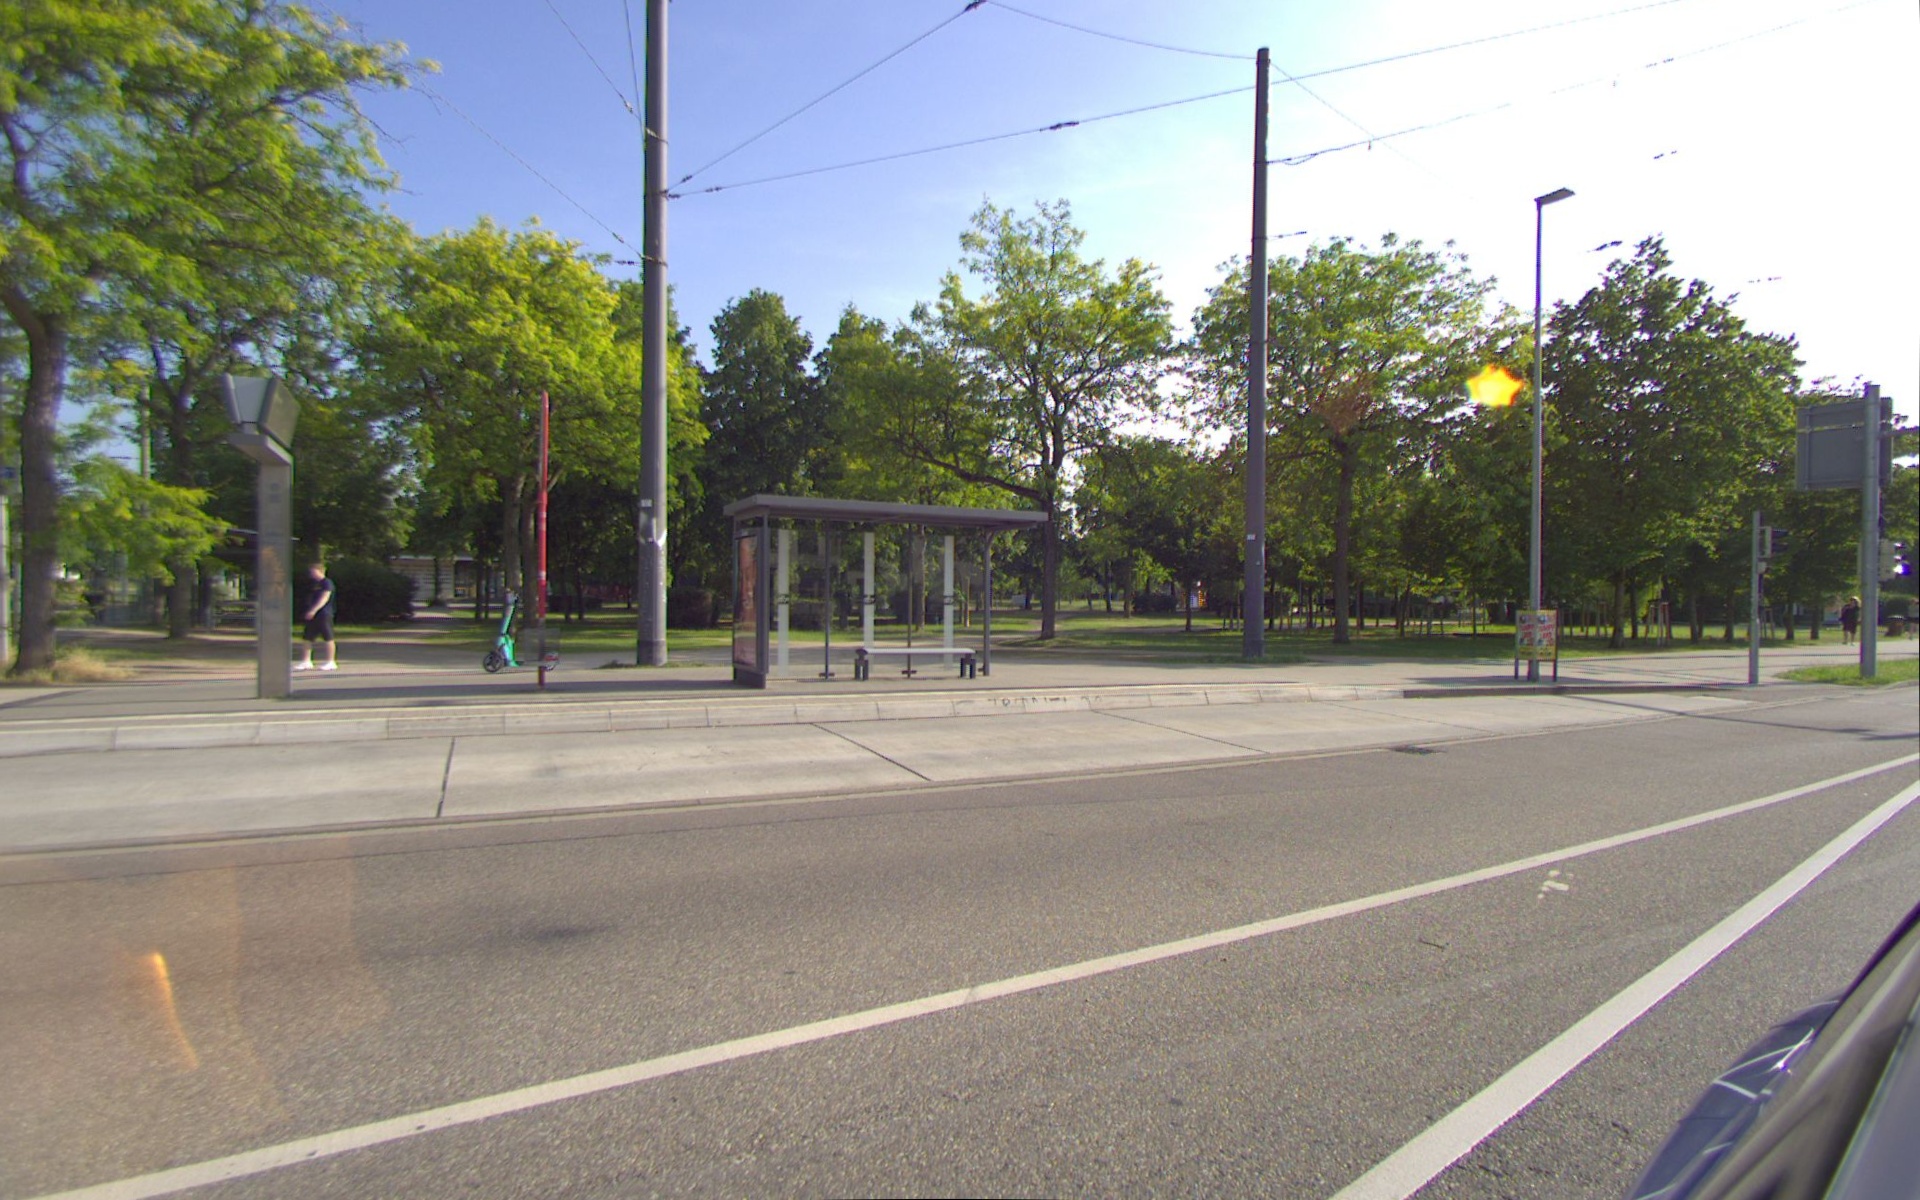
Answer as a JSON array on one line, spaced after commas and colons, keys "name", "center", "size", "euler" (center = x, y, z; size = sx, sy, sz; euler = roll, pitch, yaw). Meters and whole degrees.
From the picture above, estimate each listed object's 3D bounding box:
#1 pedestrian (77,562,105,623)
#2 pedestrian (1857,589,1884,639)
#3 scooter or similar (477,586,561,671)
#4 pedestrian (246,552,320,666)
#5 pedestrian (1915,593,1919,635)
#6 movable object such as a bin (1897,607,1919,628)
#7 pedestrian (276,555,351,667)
[{"name": "pedestrian", "center": [-27.068, -0.240, 31.538], "size": [0.594, 1.892, 0.462], "euler": [0, -2, -31]}, {"name": "pedestrian", "center": [32.142, 0.483, 35.725], "size": [0.649, 1.722, 0.558], "euler": [0, 0, -34]}, {"name": "scooter or similar", "center": [-6.694, 0.418, 15.397], "size": [0.351, 1.247, 1.118], "euler": [1, 0, 42]}, {"name": "pedestrian", "center": [-11.818, 0.162, 17.670], "size": [0.667, 1.922, 0.871], "euler": [-2, -2, 29]}, {"name": "pedestrian", "center": [39.053, 0.564, 40.761], "size": [0.648, 1.672, 0.623], "euler": [0, 0, -26]}, {"name": "movable object such as a bin", "center": [41.208, 0.757, 43.970], "size": [0.515, 0.915, 0.503], "euler": [1, 0, 5]}, {"name": "pedestrian", "center": [-10.717, 0.184, 16.792], "size": [0.669, 1.800, 0.868], "euler": [-2, -2, 37]}]
